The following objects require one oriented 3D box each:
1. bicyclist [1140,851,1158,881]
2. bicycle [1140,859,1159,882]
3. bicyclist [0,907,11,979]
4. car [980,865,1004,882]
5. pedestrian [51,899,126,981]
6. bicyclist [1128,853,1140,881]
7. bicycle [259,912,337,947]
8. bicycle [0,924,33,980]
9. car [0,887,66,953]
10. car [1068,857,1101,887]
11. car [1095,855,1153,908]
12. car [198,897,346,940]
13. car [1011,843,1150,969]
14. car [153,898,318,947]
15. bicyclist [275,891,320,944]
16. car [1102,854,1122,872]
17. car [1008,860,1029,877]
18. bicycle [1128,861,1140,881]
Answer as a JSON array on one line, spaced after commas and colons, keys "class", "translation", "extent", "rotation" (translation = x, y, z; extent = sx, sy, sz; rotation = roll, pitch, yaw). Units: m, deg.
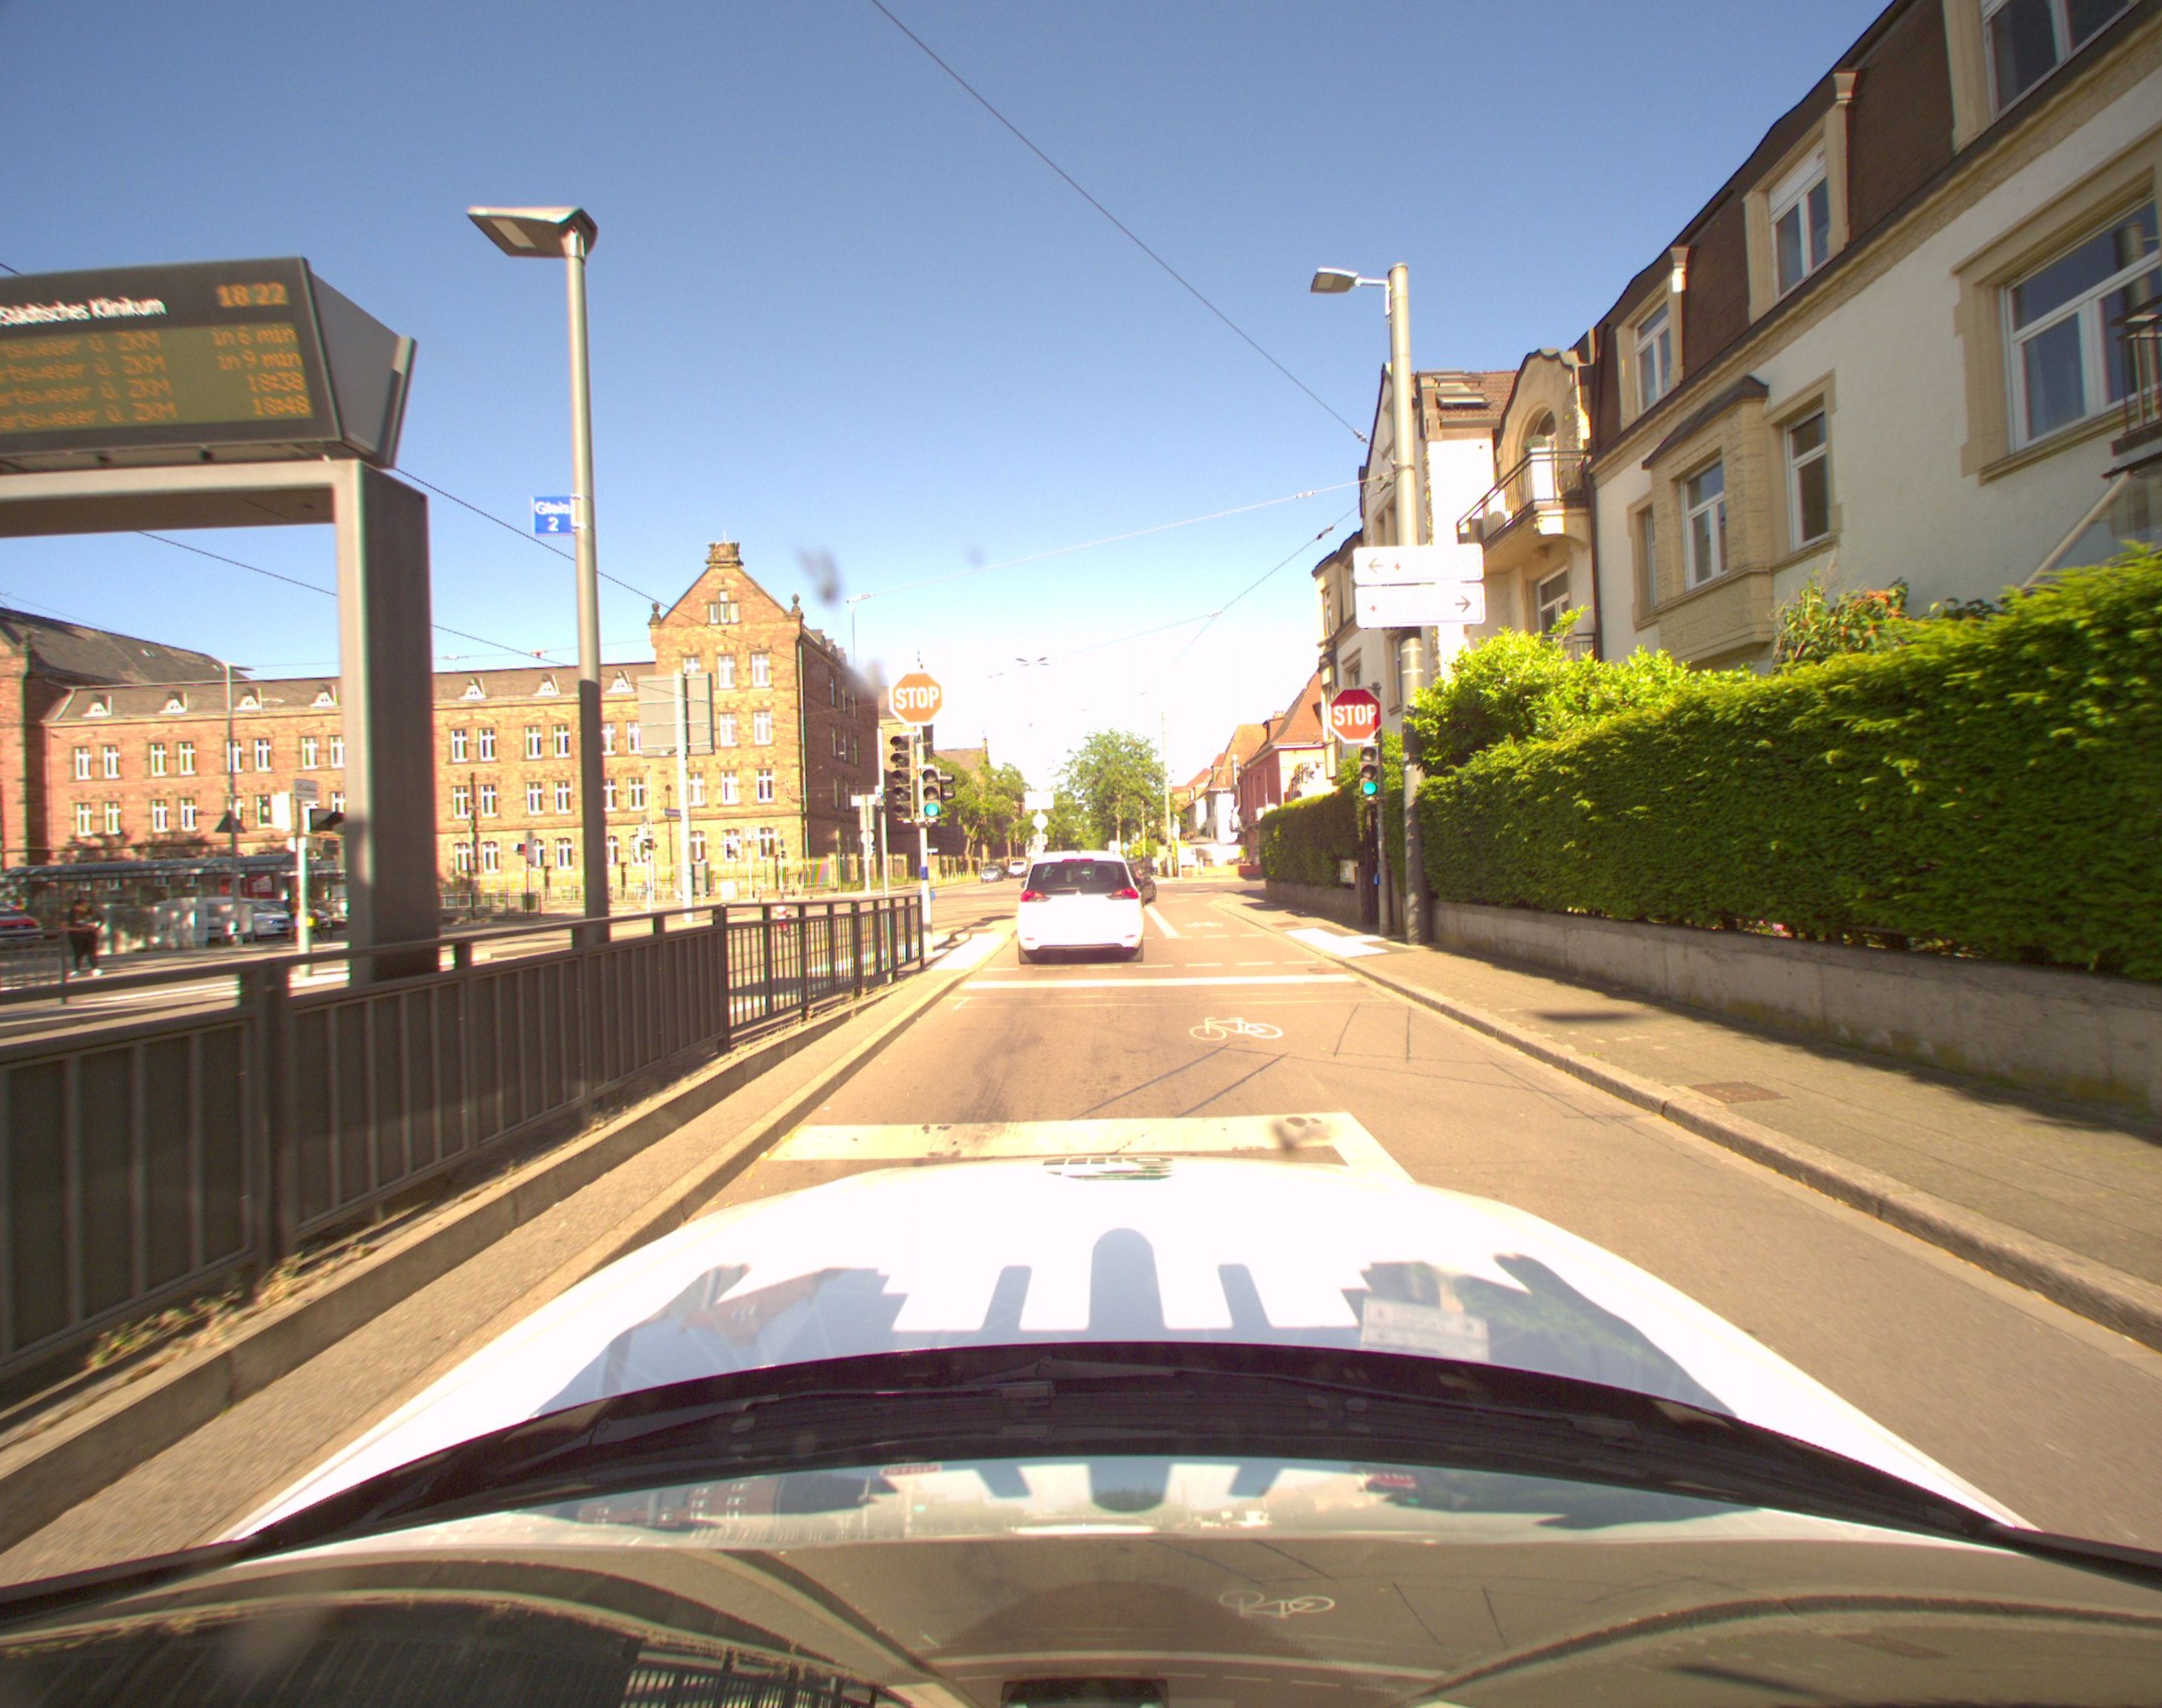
[{"class": "bicyclist", "translation": [3.513, 0.601, 42.055], "extent": [0.818, 1.501, 0.934], "rotation": [-2, -1, 1]}, {"class": "bicycle", "translation": [3.524, 0.851, 42.029], "extent": [0.826, 1.154, 2.095], "rotation": [-2, -1, 1]}, {"class": "bicyclist", "translation": [-21.338, 1.739, 15.697], "extent": [0.692, 1.383, 0.530], "rotation": [-1, -1, -25]}, {"class": "car", "translation": [-8.160, 1.774, 74.871], "extent": [1.574, 1.441, 3.588], "rotation": [-2, -1, 4]}, {"class": "pedestrian", "translation": [-20.374, 1.743, 16.727], "extent": [0.568, 1.569, 0.836], "rotation": [-1, 0, 22]}, {"class": "bicyclist", "translation": [3.205, 0.783, 49.203], "extent": [0.682, 1.634, 1.016], "rotation": [-2, -1, 4]}, {"class": "bicycle", "translation": [-25.059, 2.409, 26.086], "extent": [1.728, 1.013, 0.801], "rotation": [-2, -1, 1]}, {"class": "bicycle", "translation": [-21.319, 1.936, 15.673], "extent": [0.694, 1.049, 1.656], "rotation": [-1, -1, -24]}, {"class": "car", "translation": [-43.666, 2.631, 31.878], "extent": [5.011, 2.453, 2.261], "rotation": [-2, -1, 1]}, {"class": "car", "translation": [0.233, 1.041, 48.513], "extent": [1.769, 1.632, 3.882], "rotation": [-2, -1, 2]}, {"class": "car", "translation": [1.346, 0.785, 25.144], "extent": [1.579, 1.420, 3.904], "rotation": [-3, 0, 4]}, {"class": "car", "translation": [-31.839, 2.529, 32.135], "extent": [4.047, 1.447, 1.879], "rotation": [-2, -1, 3]}, {"class": "car", "translation": [0.082, 0.731, 12.991], "extent": [1.827, 1.642, 3.921], "rotation": [-2, -1, 2]}, {"class": "car", "translation": [-30.117, 2.423, 29.076], "extent": [4.047, 1.522, 1.879], "rotation": [-2, -1, 3]}, {"class": "bicyclist", "translation": [-25.088, 2.011, 26.097], "extent": [0.632, 1.636, 0.802], "rotation": [-2, -1, 2]}, {"class": "car", "translation": [3.153, 0.914, 82.487], "extent": [1.768, 1.632, 3.885], "rotation": [-2, -1, 4]}, {"class": "car", "translation": [-6.804, 1.623, 89.566], "extent": [1.886, 1.783, 3.881], "rotation": [-2, -1, 1]}, {"class": "bicycle", "translation": [3.211, 1.039, 49.221], "extent": [0.682, 1.157, 1.621], "rotation": [-1, -1, 4]}]
